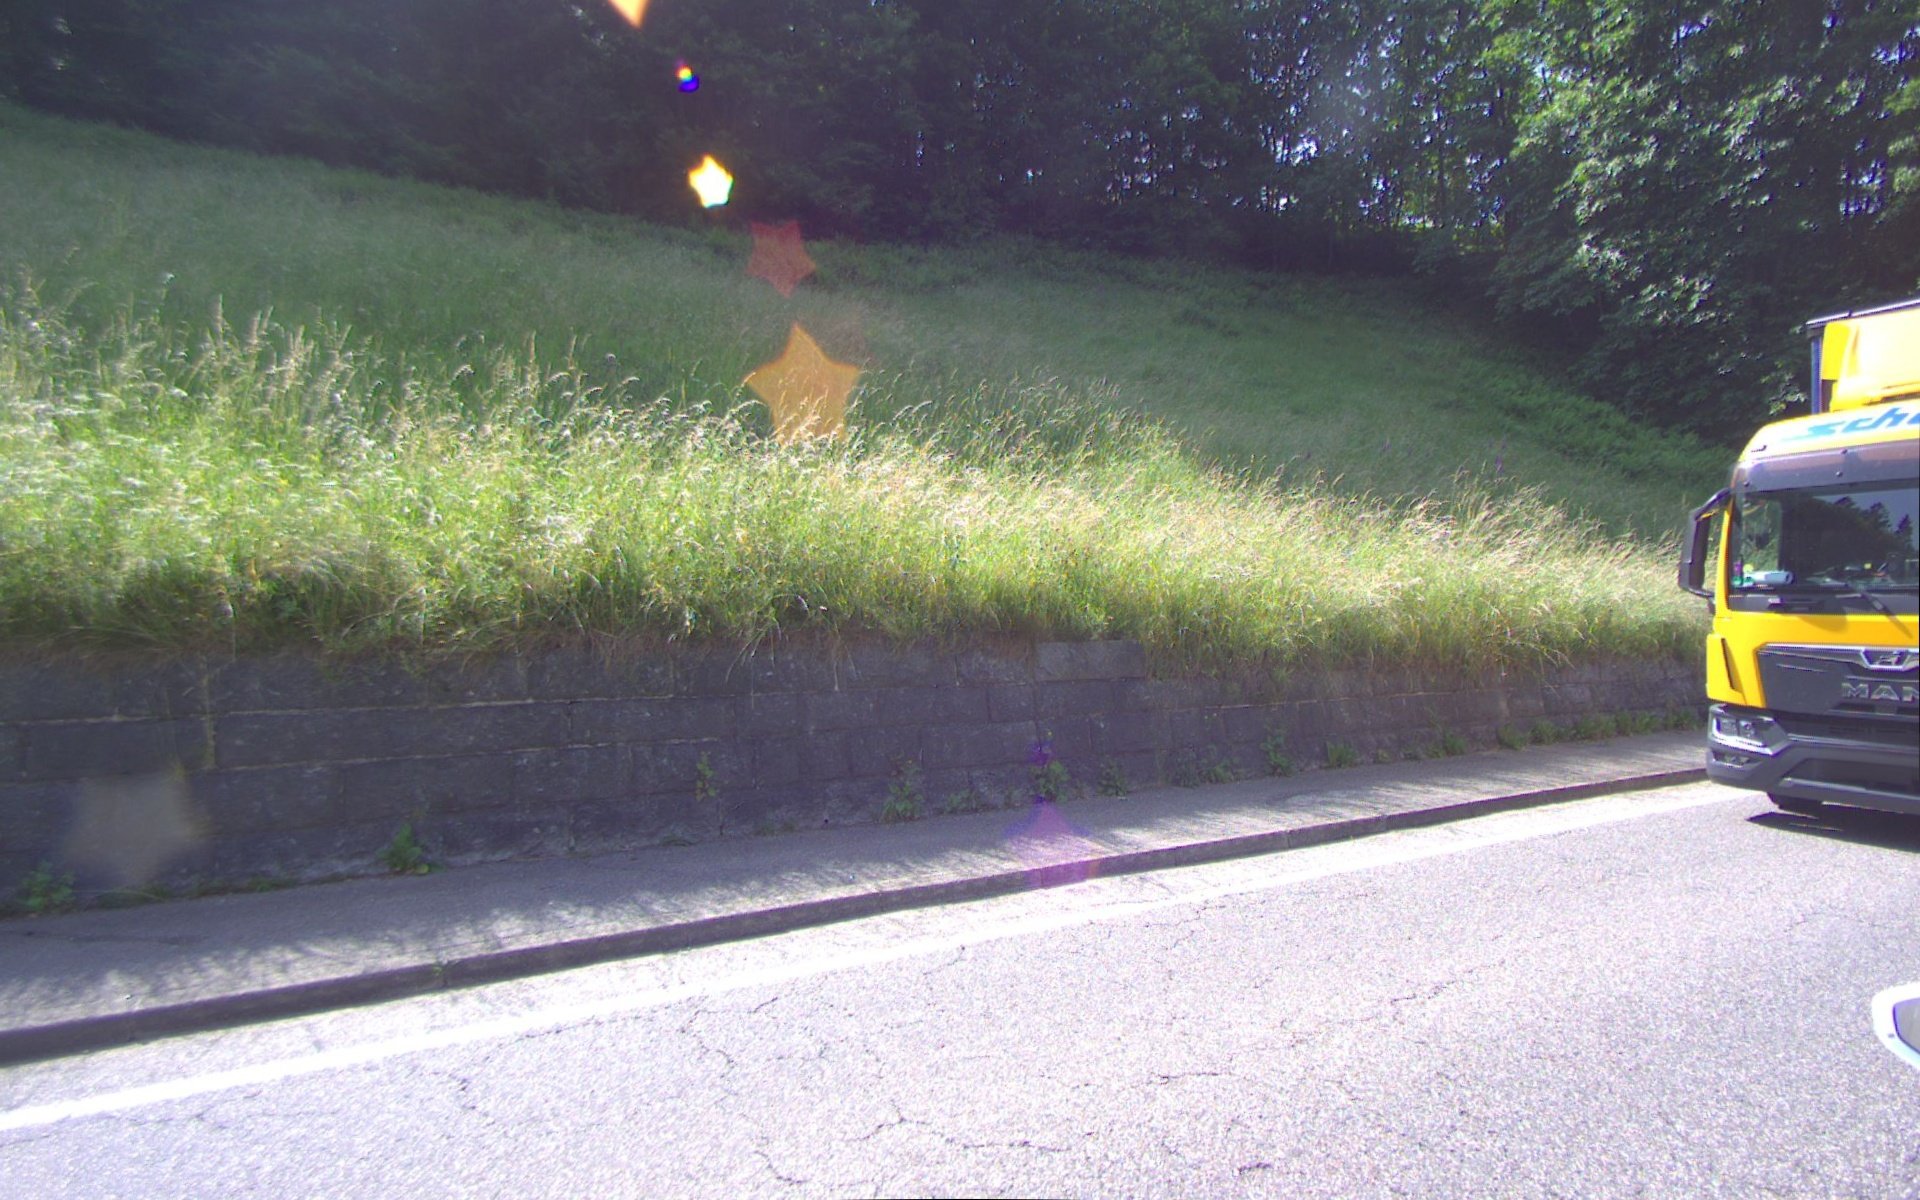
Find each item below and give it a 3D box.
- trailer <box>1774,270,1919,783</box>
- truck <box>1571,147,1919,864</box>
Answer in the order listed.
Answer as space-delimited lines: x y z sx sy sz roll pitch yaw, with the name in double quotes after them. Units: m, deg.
15.407 -0.648 11.571 15.110 4.477 3.249 0 1 -26 "trailer"
8.579 -0.621 8.260 6.487 4.456 3.176 -1 2 -28 "truck"
